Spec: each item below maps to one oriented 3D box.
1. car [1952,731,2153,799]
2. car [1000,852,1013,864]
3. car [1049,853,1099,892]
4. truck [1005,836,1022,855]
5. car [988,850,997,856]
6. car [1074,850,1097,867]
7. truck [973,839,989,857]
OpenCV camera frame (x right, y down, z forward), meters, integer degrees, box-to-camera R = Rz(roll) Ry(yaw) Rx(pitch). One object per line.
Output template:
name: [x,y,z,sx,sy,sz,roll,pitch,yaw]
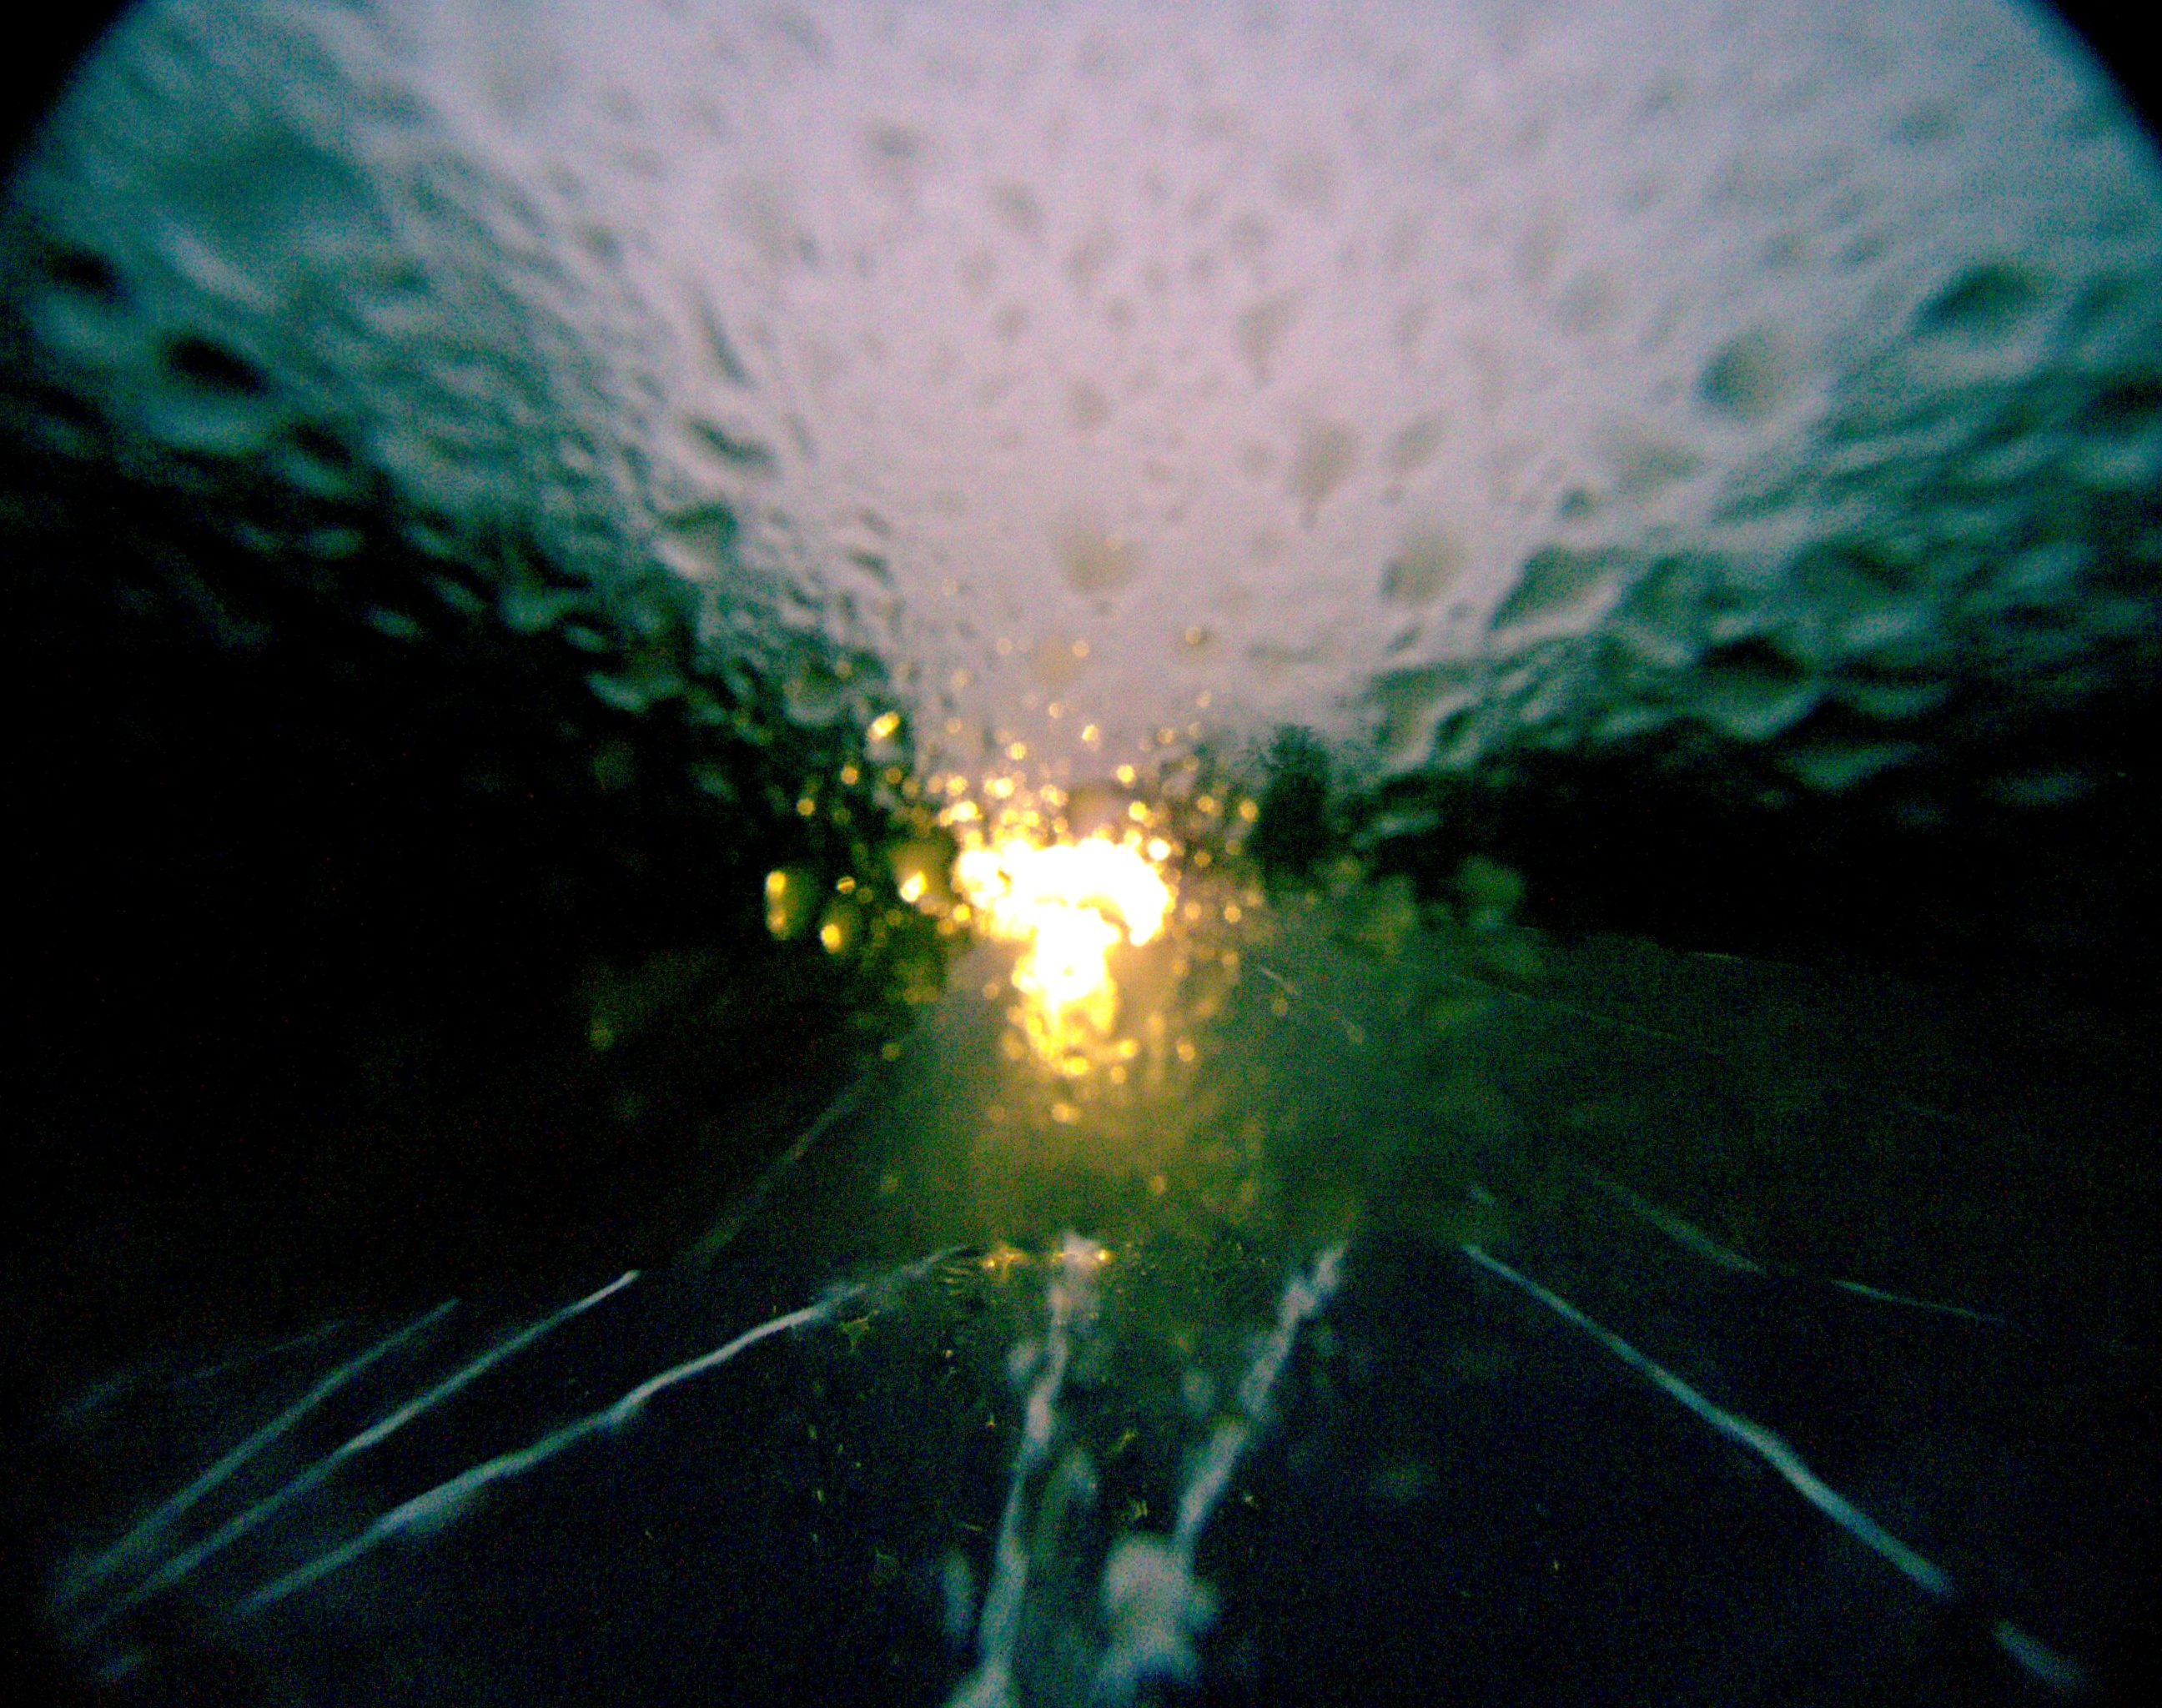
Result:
car: [36.702,-3.306,28.885,2.001,2.002,4.224,-4,1,-15]
car: [-11.189,0.582,113.641,1.702,1.721,3.997,-3,1,-8]
car: [-0.362,0.709,31.314,1.850,1.429,4.243,-2,1,-3]
truck: [-13.139,-1.660,146.437,2.656,3.576,9.833,-1,1,-8]
car: [-20.864,-0.233,179.258,1.852,1.452,4.240,-2,1,-11]
car: [0.381,0.401,71.845,1.770,1.488,4.100,-2,0,-5]
truck: [-27.949,-1.641,211.520,3.358,4.402,11.156,-5,1,-11]
